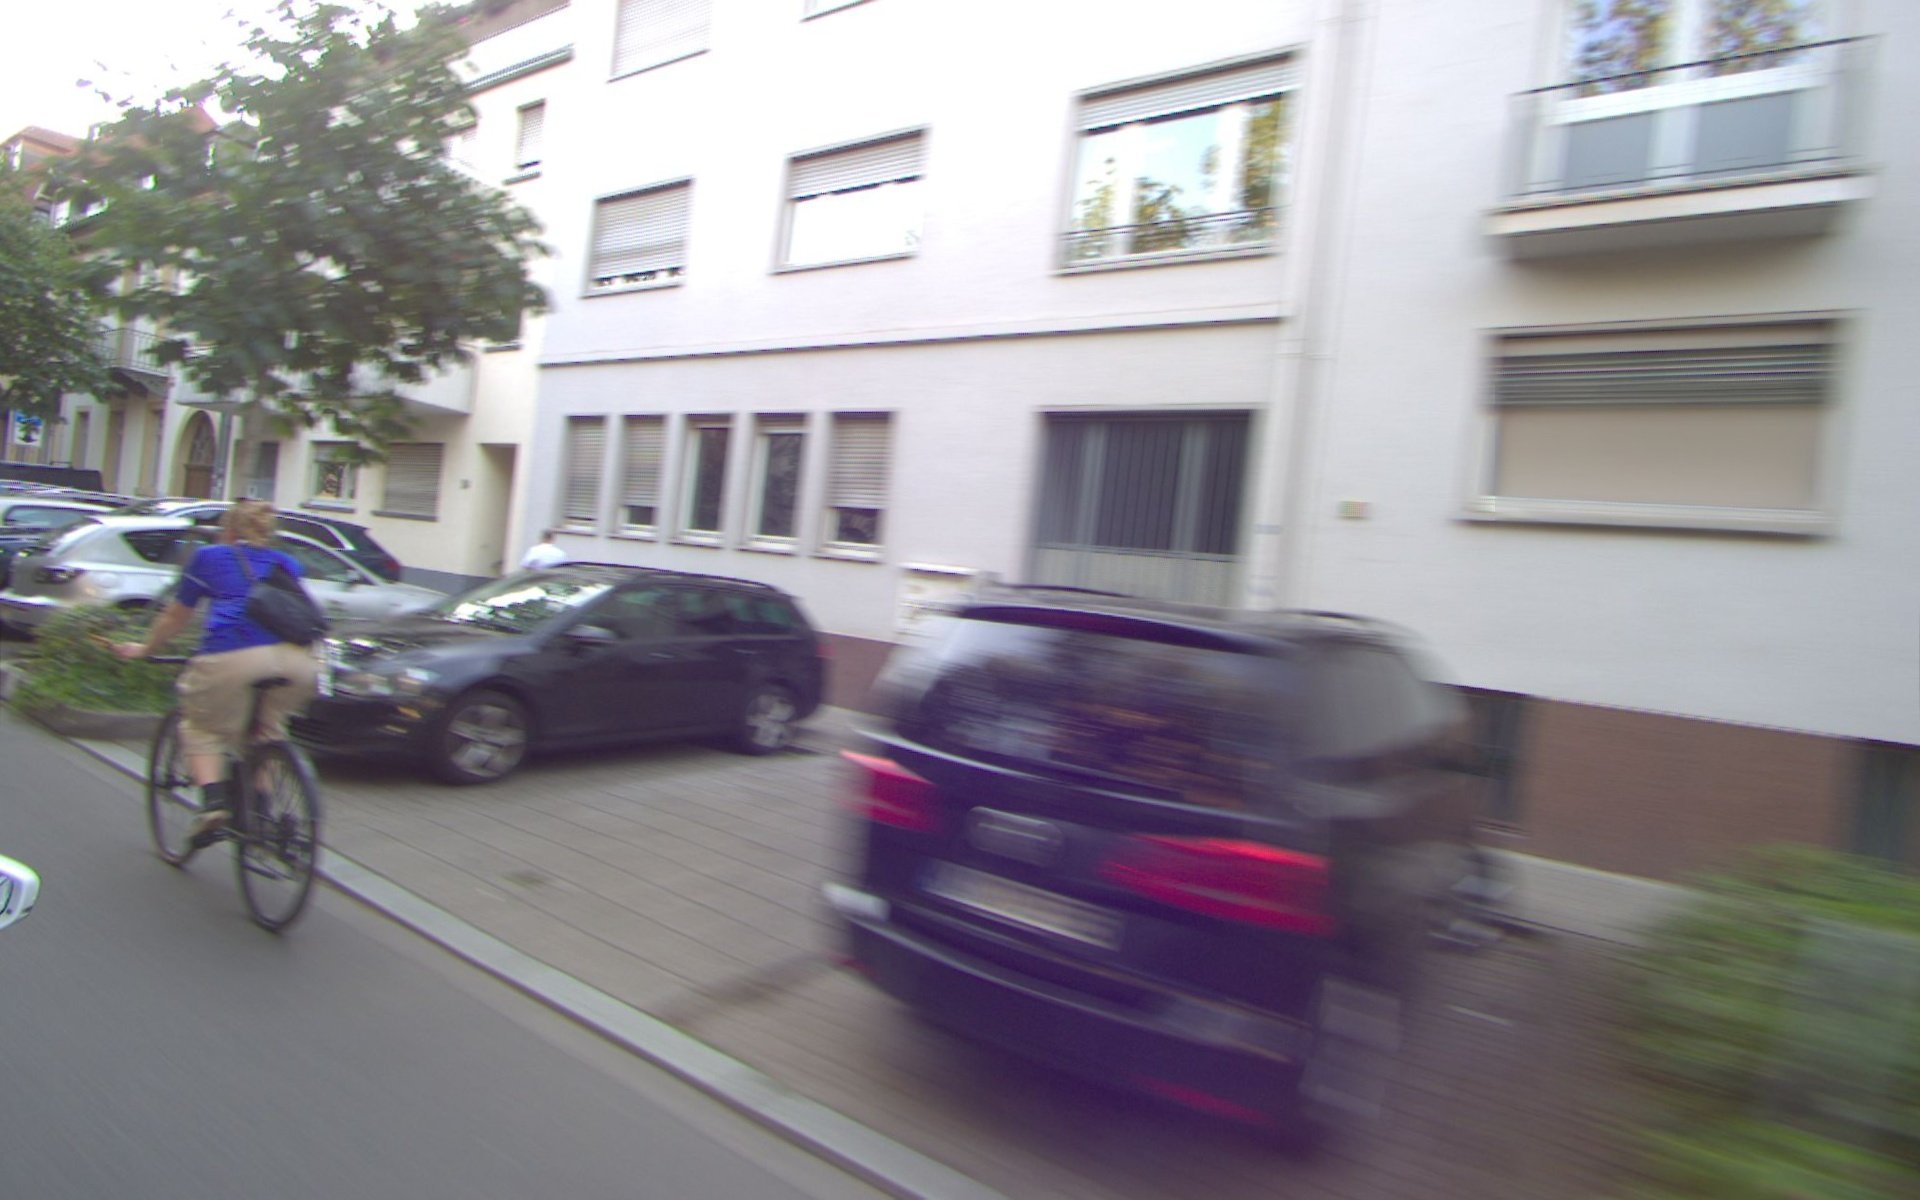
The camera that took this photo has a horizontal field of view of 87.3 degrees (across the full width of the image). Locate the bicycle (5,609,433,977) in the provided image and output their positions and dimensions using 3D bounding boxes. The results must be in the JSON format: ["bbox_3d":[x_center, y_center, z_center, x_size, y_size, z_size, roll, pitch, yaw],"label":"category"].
[{"bbox_3d":[-3.107,0.681,4.150,1.945,1.042,0.673,6,-2,33],"label":"bicycle"}]

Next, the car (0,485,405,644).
[{"bbox_3d":[-9.552,-0.404,12.141,1.913,1.600,4.588,6,2,33],"label":"car"}]

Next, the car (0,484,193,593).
[{"bbox_3d":[-15.185,-1.040,16.322,1.821,1.600,3.963,6,2,33],"label":"car"}]

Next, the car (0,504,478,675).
[{"bbox_3d":[-7.710,-0.096,10.932,1.790,1.448,4.069,7,3,36],"label":"car"}]

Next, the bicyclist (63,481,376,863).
[{"bbox_3d":[-3.047,0.272,4.157,0.764,1.379,0.673,6,-2,32],"label":"bicyclist"}]

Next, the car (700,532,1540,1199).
[{"bbox_3d":[1.174,0.846,4.440,1.930,1.637,4.112,7,-1,35],"label":"car"}]

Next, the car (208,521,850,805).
[{"bbox_3d":[-2.980,0.440,7.923,1.765,1.515,4.317,6,0,33],"label":"car"}]

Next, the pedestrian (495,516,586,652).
[{"bbox_3d":[-6.008,-0.222,14.411,0.867,1.818,0.697,7,1,35],"label":"pedestrian"}]

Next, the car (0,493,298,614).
[{"bbox_3d":[-11.712,-0.625,14.001,1.670,1.442,3.791,6,2,33],"label":"car"}]

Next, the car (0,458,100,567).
[{"bbox_3d":[-19.955,-1.838,19.431,2.005,2.038,4.686,6,3,34],"label":"car"}]

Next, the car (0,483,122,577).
[{"bbox_3d":[-17.898,-1.359,17.920,1.938,1.600,4.154,6,2,33],"label":"car"}]
